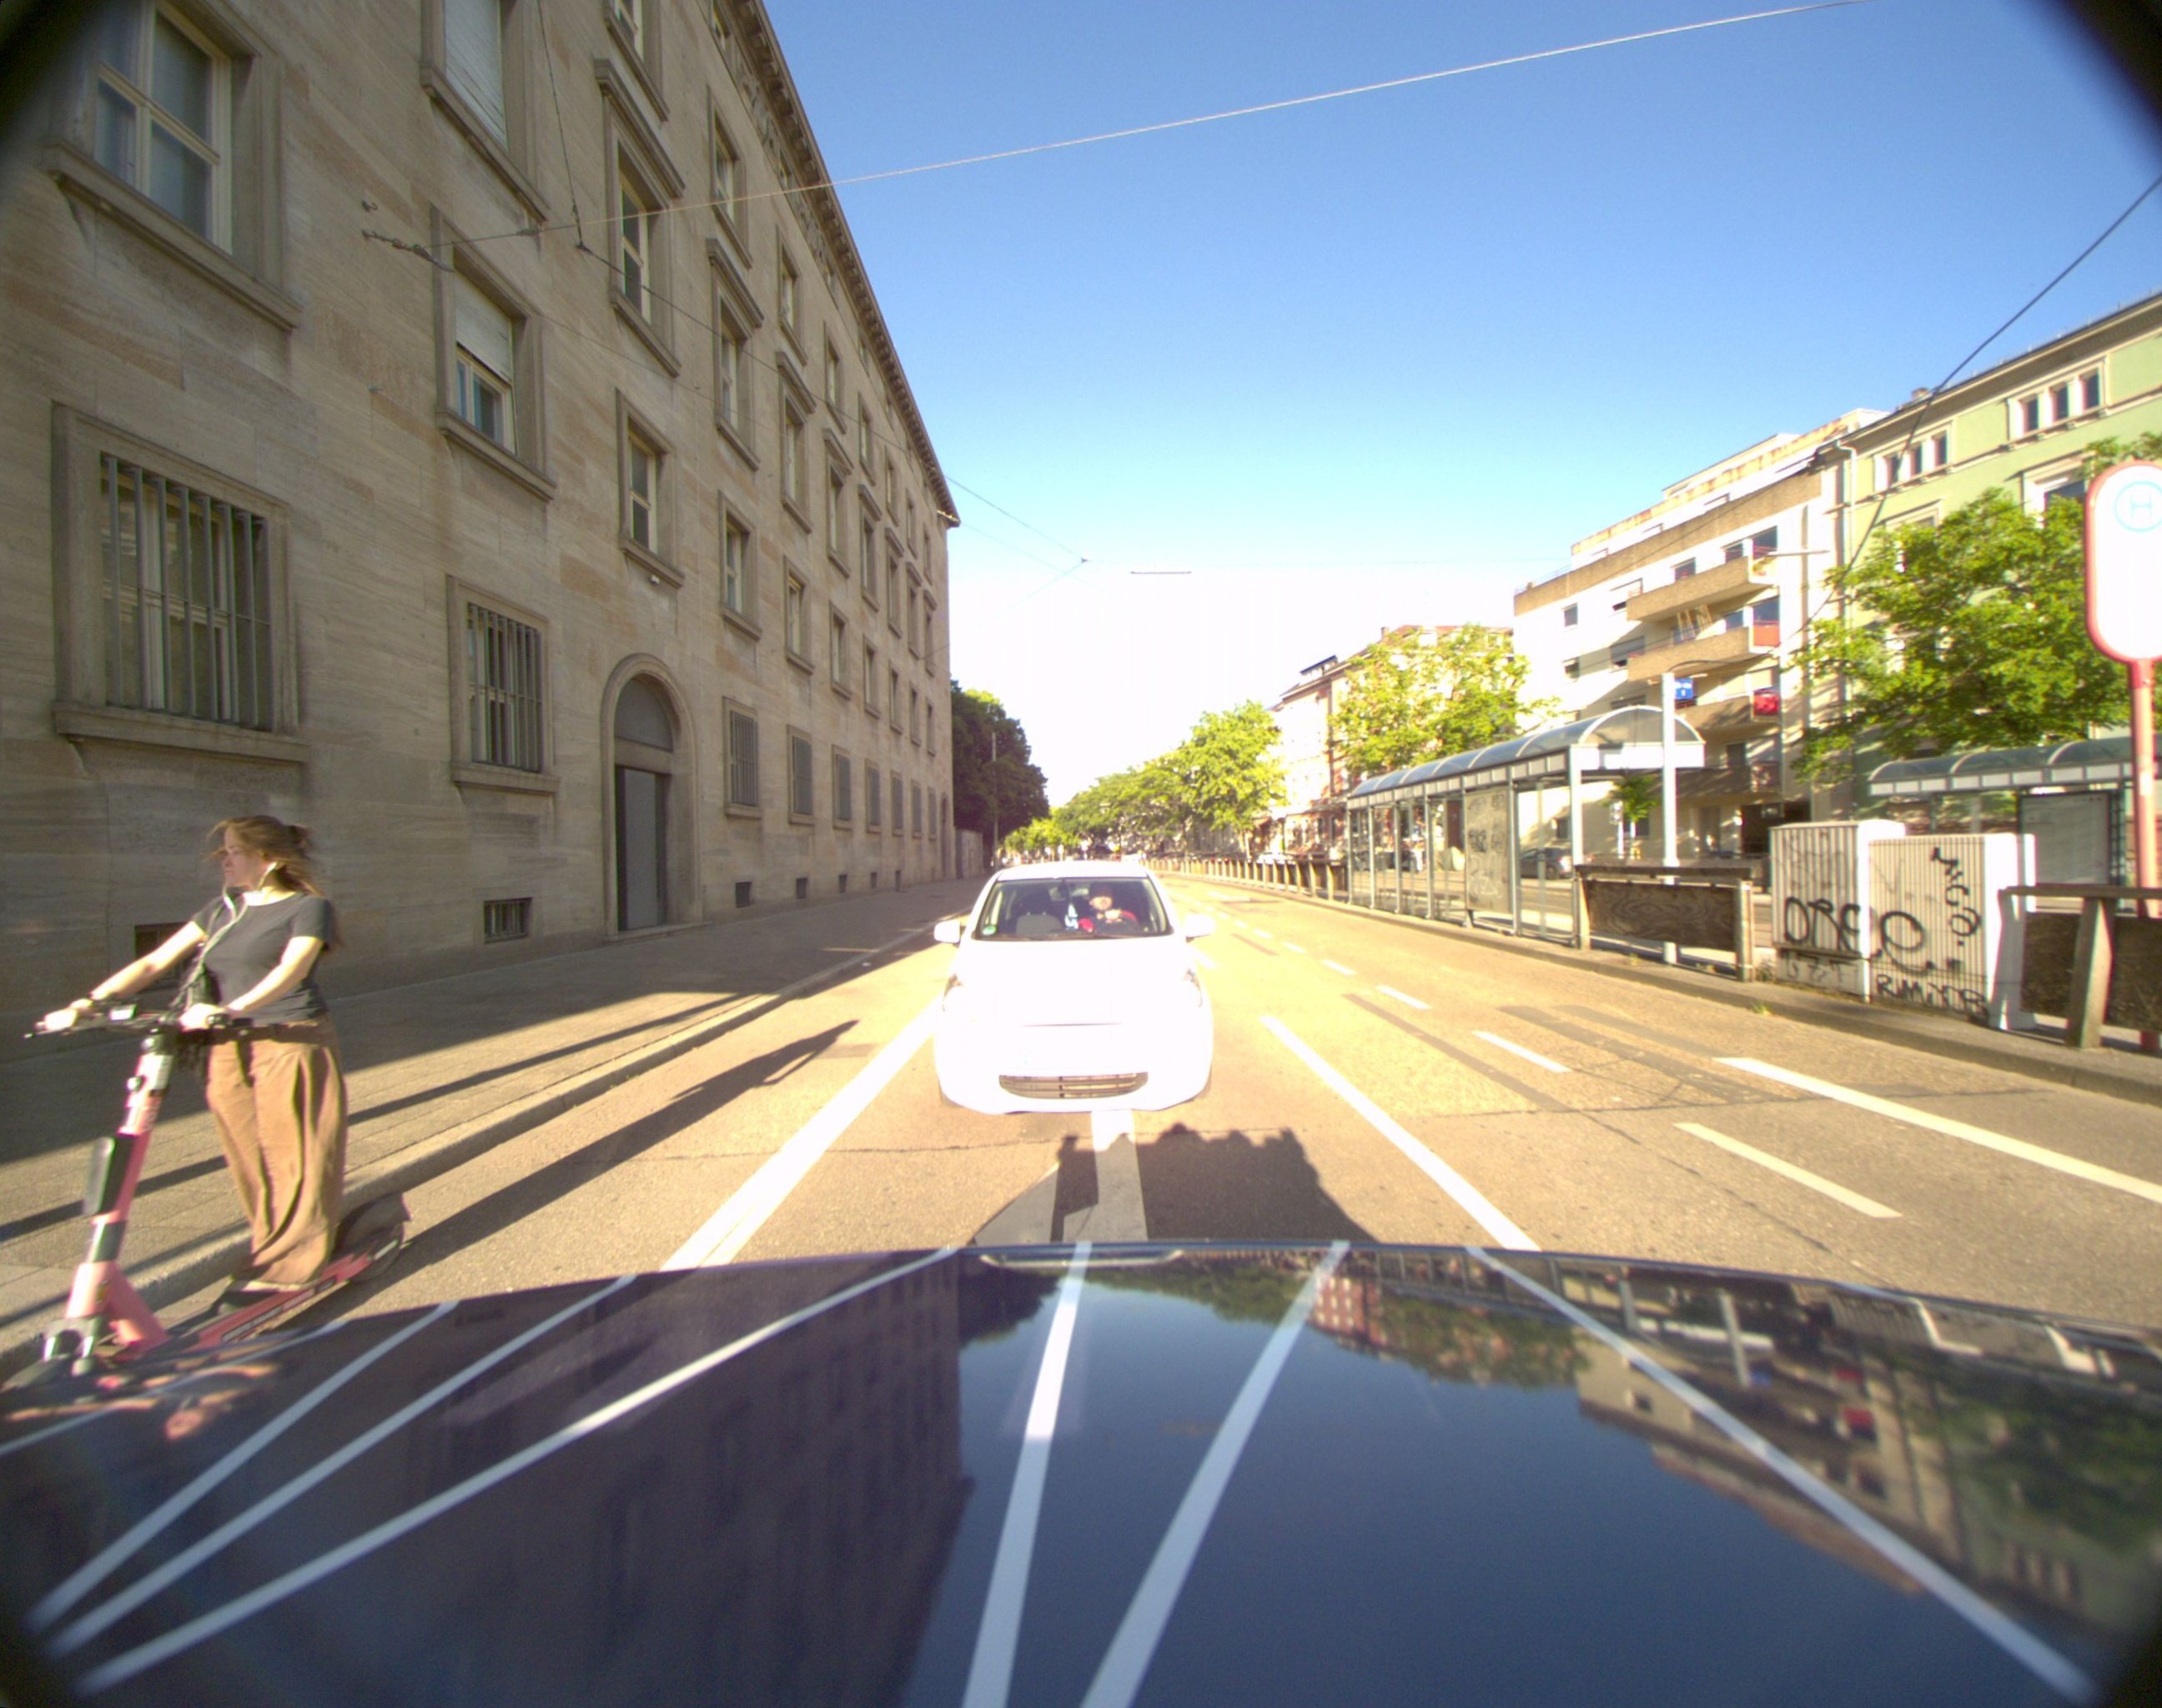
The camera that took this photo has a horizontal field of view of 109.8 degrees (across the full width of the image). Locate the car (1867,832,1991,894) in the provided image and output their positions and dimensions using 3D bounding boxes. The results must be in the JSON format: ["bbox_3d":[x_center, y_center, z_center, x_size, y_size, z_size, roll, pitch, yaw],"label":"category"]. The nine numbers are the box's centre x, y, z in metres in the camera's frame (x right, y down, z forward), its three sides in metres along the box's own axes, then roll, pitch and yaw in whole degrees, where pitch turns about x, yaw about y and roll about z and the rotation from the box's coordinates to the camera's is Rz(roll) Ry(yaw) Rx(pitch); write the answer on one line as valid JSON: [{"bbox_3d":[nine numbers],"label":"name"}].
[{"bbox_3d":[24.459,0.228,21.889,3.605,1.558,1.627,-3,1,-29],"label":"car"}]

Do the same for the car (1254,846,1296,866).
[{"bbox_3d":[16.254,0.148,63.475,3.607,1.558,1.627,-3,1,-42],"label":"car"}]

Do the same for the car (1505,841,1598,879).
[{"bbox_3d":[20.911,0.227,33.931,1.631,1.558,3.598,-2,1,-5],"label":"car"}]

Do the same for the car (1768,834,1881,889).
[{"bbox_3d":[23.880,0.221,24.401,3.605,1.558,1.627,-3,1,-29],"label":"car"}]

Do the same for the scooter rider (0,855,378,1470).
[{"bbox_3d":[-2.806,0.842,2.332,0.731,1.661,0.556,-1,1,0],"label":"scooter rider"}]

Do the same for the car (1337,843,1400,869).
[{"bbox_3d":[19.539,0.118,51.721,3.599,1.558,1.630,-2,1,-7],"label":"car"}]

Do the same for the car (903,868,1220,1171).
[{"bbox_3d":[-0.078,0.905,5.807,1.612,1.462,3.631,-2,0,1],"label":"car"}]

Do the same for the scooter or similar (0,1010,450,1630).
[{"bbox_3d":[-2.787,1.214,2.347,0.536,1.178,1.328,-1,0,0],"label":"scooter or similar"}]
